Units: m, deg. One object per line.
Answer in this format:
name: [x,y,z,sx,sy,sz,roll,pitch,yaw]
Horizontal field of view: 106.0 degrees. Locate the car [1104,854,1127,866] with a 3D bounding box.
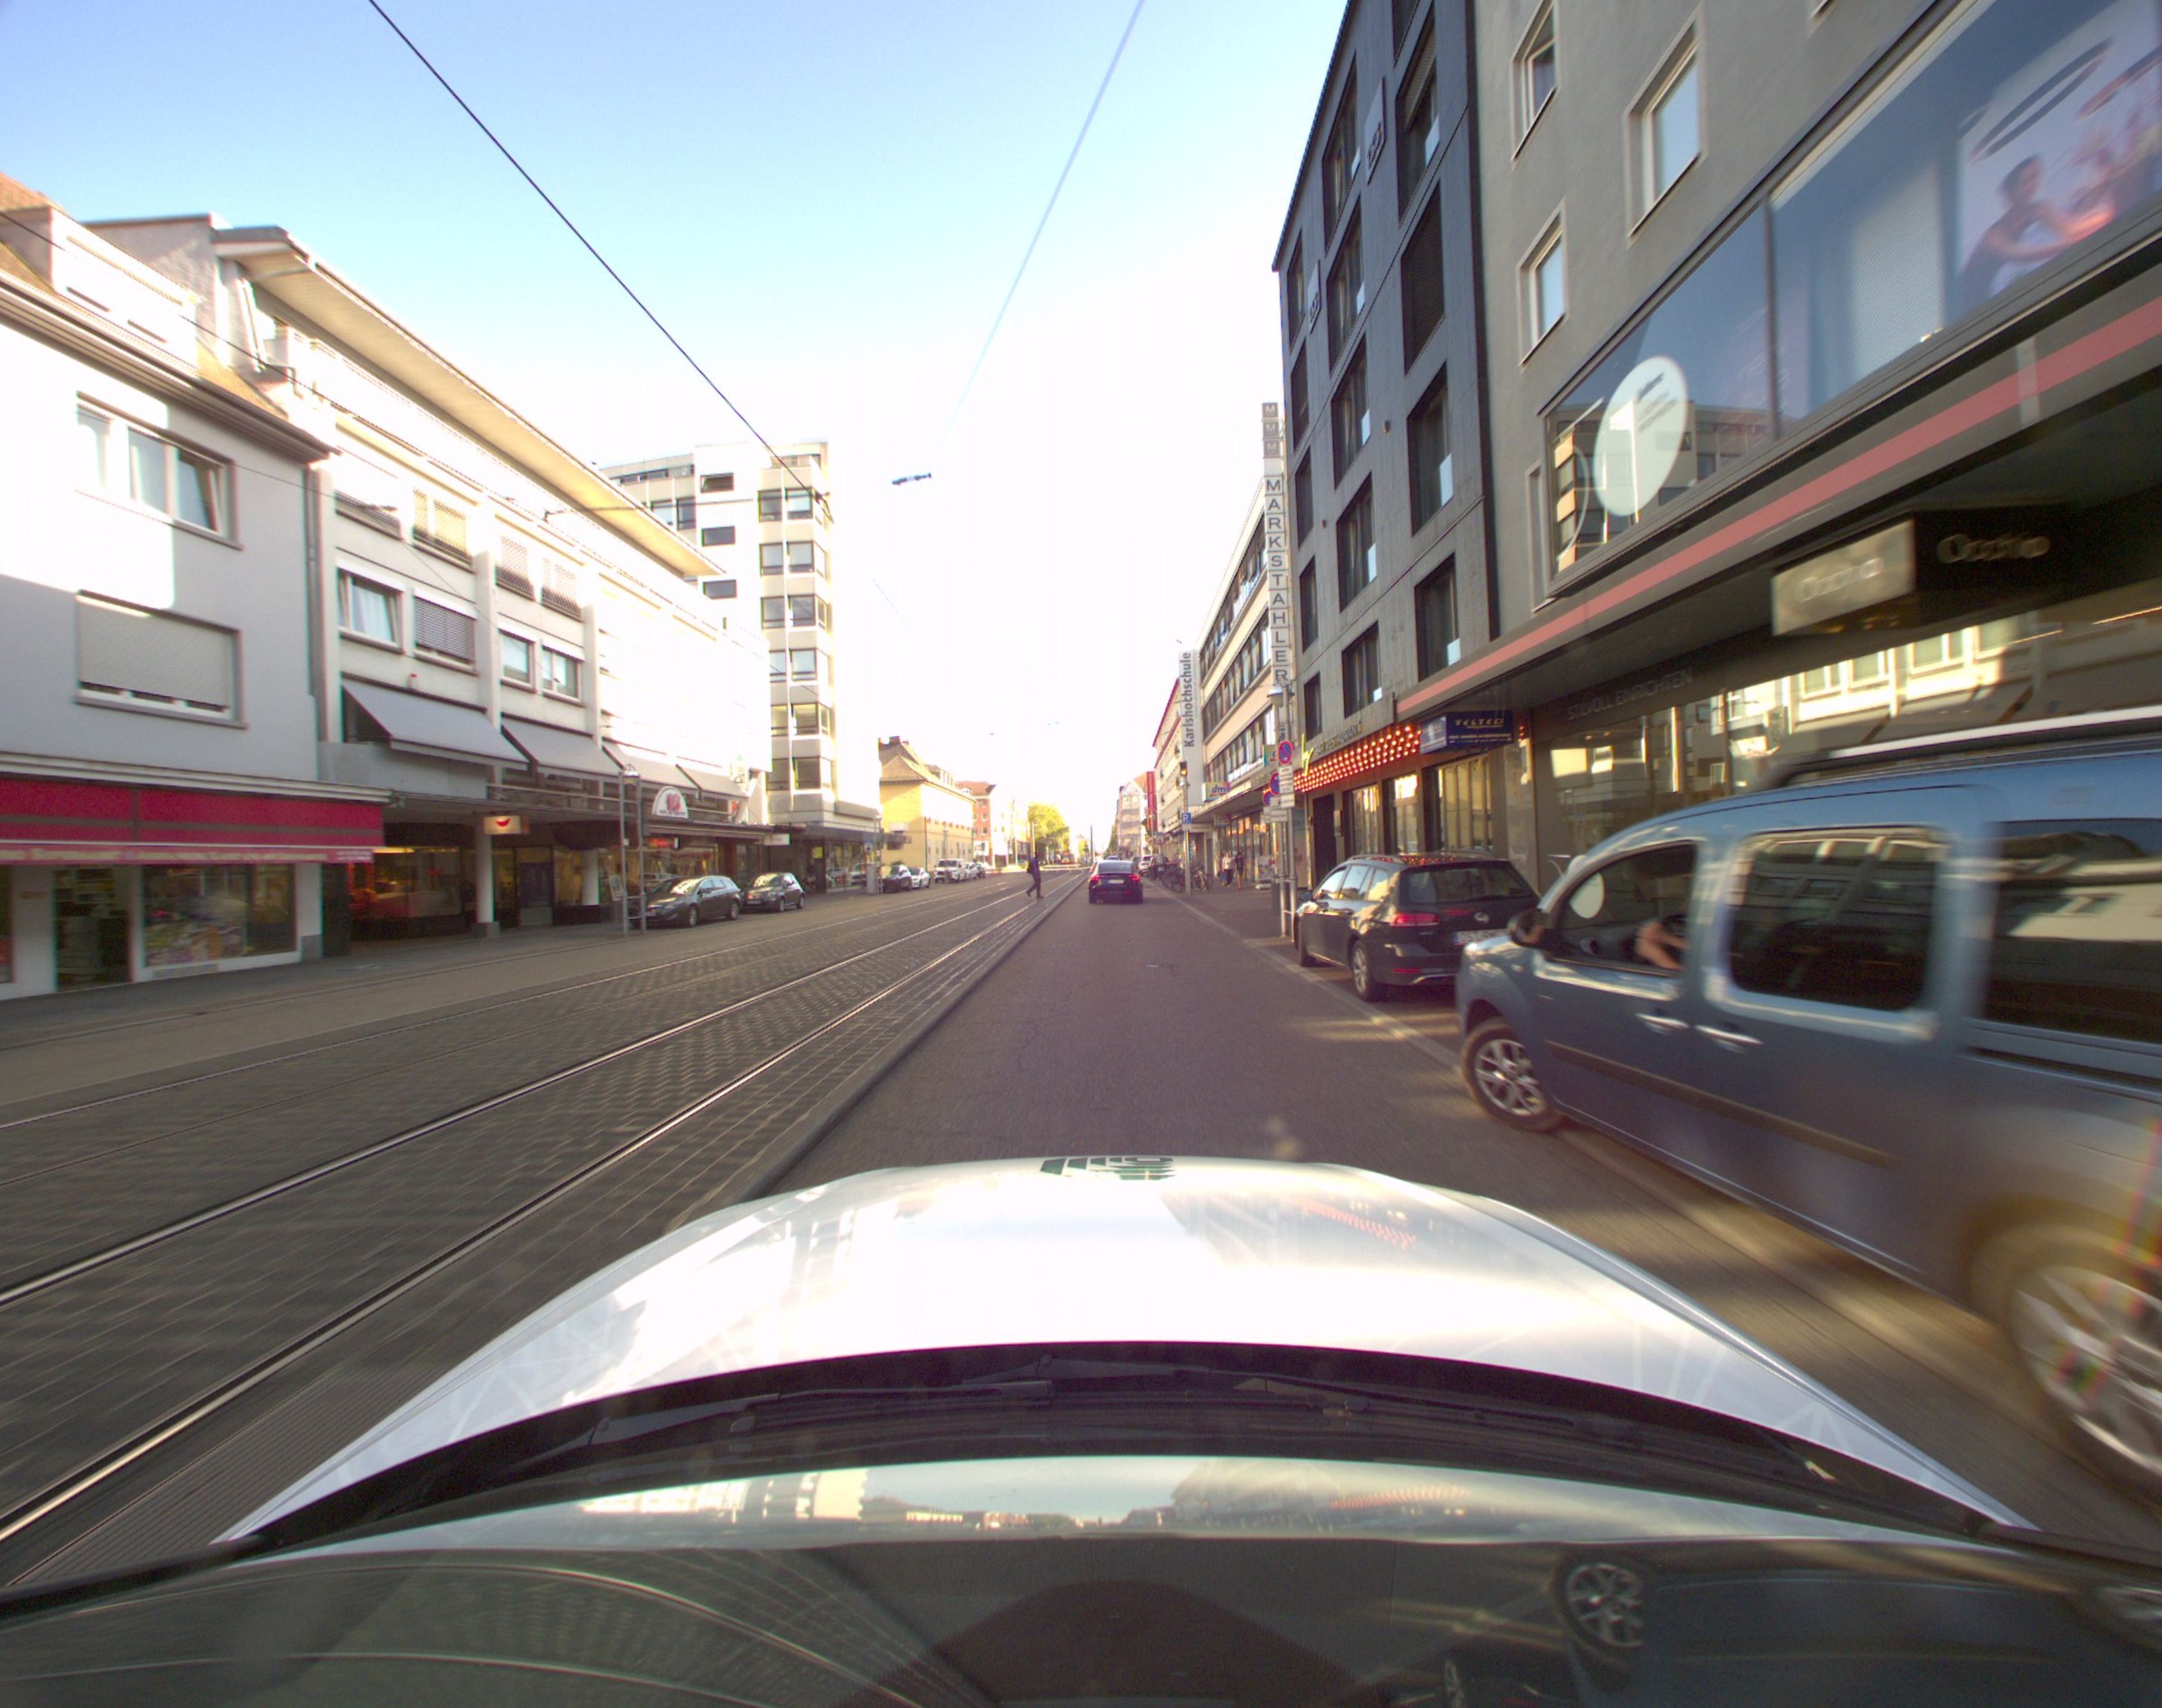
car: [4.355,0.740,102.504,1.785,1.519,4.198,0,-1,-13]

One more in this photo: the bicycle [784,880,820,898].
bicycle: [-15.571,1.943,45.461,1.928,0.999,0.381,0,-1,2]

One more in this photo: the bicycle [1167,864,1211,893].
bicycle: [4.606,1.024,34.850,1.770,1.130,0.478,-3,0,-4]

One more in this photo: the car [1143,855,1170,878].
car: [5.485,0.899,59.506,1.608,1.528,4.071,-3,-1,1]

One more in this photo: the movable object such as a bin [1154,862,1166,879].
movable object such as a bin: [5.104,1.065,52.446,0.687,1.089,0.686,-3,-1,5]

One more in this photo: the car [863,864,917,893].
car: [-11.413,1.425,48.961,1.971,1.678,4.657,0,-1,2]

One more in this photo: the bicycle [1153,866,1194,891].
bicycle: [4.234,1.124,37.169,1.767,1.032,0.597,-3,0,1]

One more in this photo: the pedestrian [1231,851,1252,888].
pedestrian: [6.568,0.636,33.311,0.581,1.493,0.524,-4,-1,-7]

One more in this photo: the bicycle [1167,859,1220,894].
bicycle: [4.696,0.942,34.056,2.035,1.274,0.523,-5,0,-9]

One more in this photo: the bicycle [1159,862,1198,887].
bicycle: [4.825,1.005,40.394,1.781,1.159,0.669,-3,0,1]

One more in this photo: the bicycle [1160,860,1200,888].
bicycle: [4.777,0.966,39.359,1.781,1.217,0.669,-3,0,1]

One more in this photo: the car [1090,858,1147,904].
car: [1.246,0.888,28.254,1.842,1.484,3.787,-1,-1,1]

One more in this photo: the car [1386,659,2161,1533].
car: [3.130,0.499,3.405,1.811,1.860,4.547,-3,-1,-2]

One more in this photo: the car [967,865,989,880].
car: [-10.026,1.814,79.330,1.608,1.400,3.721,0,-1,1]

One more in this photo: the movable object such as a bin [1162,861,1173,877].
movable object such as a bin: [5.634,0.994,53.075,0.655,1.014,0.637,-3,-1,4]

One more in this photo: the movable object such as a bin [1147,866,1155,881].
movable object such as a bin: [4.516,1.259,52.553,0.485,0.958,0.458,-3,-1,5]

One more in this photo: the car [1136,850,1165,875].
car: [5.482,0.673,64.464,1.843,1.724,5.194,-4,-1,1]

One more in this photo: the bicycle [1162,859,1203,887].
bicycle: [4.792,0.894,38.532,1.781,1.217,0.587,-3,0,0]

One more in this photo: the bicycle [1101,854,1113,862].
bicycle: [3.807,0.580,121.088,1.726,1.088,0.677,0,-1,-6]

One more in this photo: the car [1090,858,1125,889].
car: [1.374,0.960,41.271,1.647,1.418,4.003,-1,0,3]

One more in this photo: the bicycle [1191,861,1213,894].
bicycle: [4.847,0.938,32.765,0.579,1.257,1.602,-4,-1,0]

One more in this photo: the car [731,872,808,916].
car: [-11.890,1.482,31.332,1.596,1.523,3.588,0,-1,-1]

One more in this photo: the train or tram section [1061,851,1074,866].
train or tram section: [-3.477,1.266,212.959,2.664,3.715,14.200,0,0,2]

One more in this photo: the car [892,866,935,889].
car: [-11.234,1.542,54.833,1.882,1.421,4.656,0,-1,1]

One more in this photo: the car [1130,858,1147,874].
car: [6.474,1.378,92.242,1.738,1.632,3.651,-3,0,2]

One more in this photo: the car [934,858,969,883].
car: [-10.757,1.356,67.927,1.986,1.975,5.098,0,-1,1]

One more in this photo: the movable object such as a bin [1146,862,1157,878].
movable object such as a bin: [4.616,1.049,53.253,0.683,1.014,0.509,-3,-1,4]

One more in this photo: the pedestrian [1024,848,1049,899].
pedestrian: [-1.698,0.738,31.067,0.801,1.837,0.746,-4,-1,0]

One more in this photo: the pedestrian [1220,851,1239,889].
pedestrian: [6.479,0.696,35.509,0.579,1.585,0.598,-4,-1,0]

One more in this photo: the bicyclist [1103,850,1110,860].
bicyclist: [3.787,0.163,121.088,0.835,1.500,0.559,0,-1,-6]

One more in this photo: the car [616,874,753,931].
car: [-12.257,1.441,25.594,1.730,1.523,4.854,0,-1,2]

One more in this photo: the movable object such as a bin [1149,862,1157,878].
movable object such as a bin: [4.764,1.046,53.916,0.520,1.014,0.672,-3,-1,4]

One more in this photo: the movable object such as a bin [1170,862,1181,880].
movable object such as a bin: [6.071,1.089,52.334,0.687,1.089,0.666,-3,-1,5]

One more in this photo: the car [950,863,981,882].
car: [-10.493,1.685,74.132,1.799,1.686,4.654,0,-1,4]

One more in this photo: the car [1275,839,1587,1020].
car: [3.615,0.686,9.402,1.715,1.484,4.418,-4,-1,2]

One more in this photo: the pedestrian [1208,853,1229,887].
pedestrian: [6.246,0.743,36.904,0.585,1.486,0.591,-4,-1,-29]
